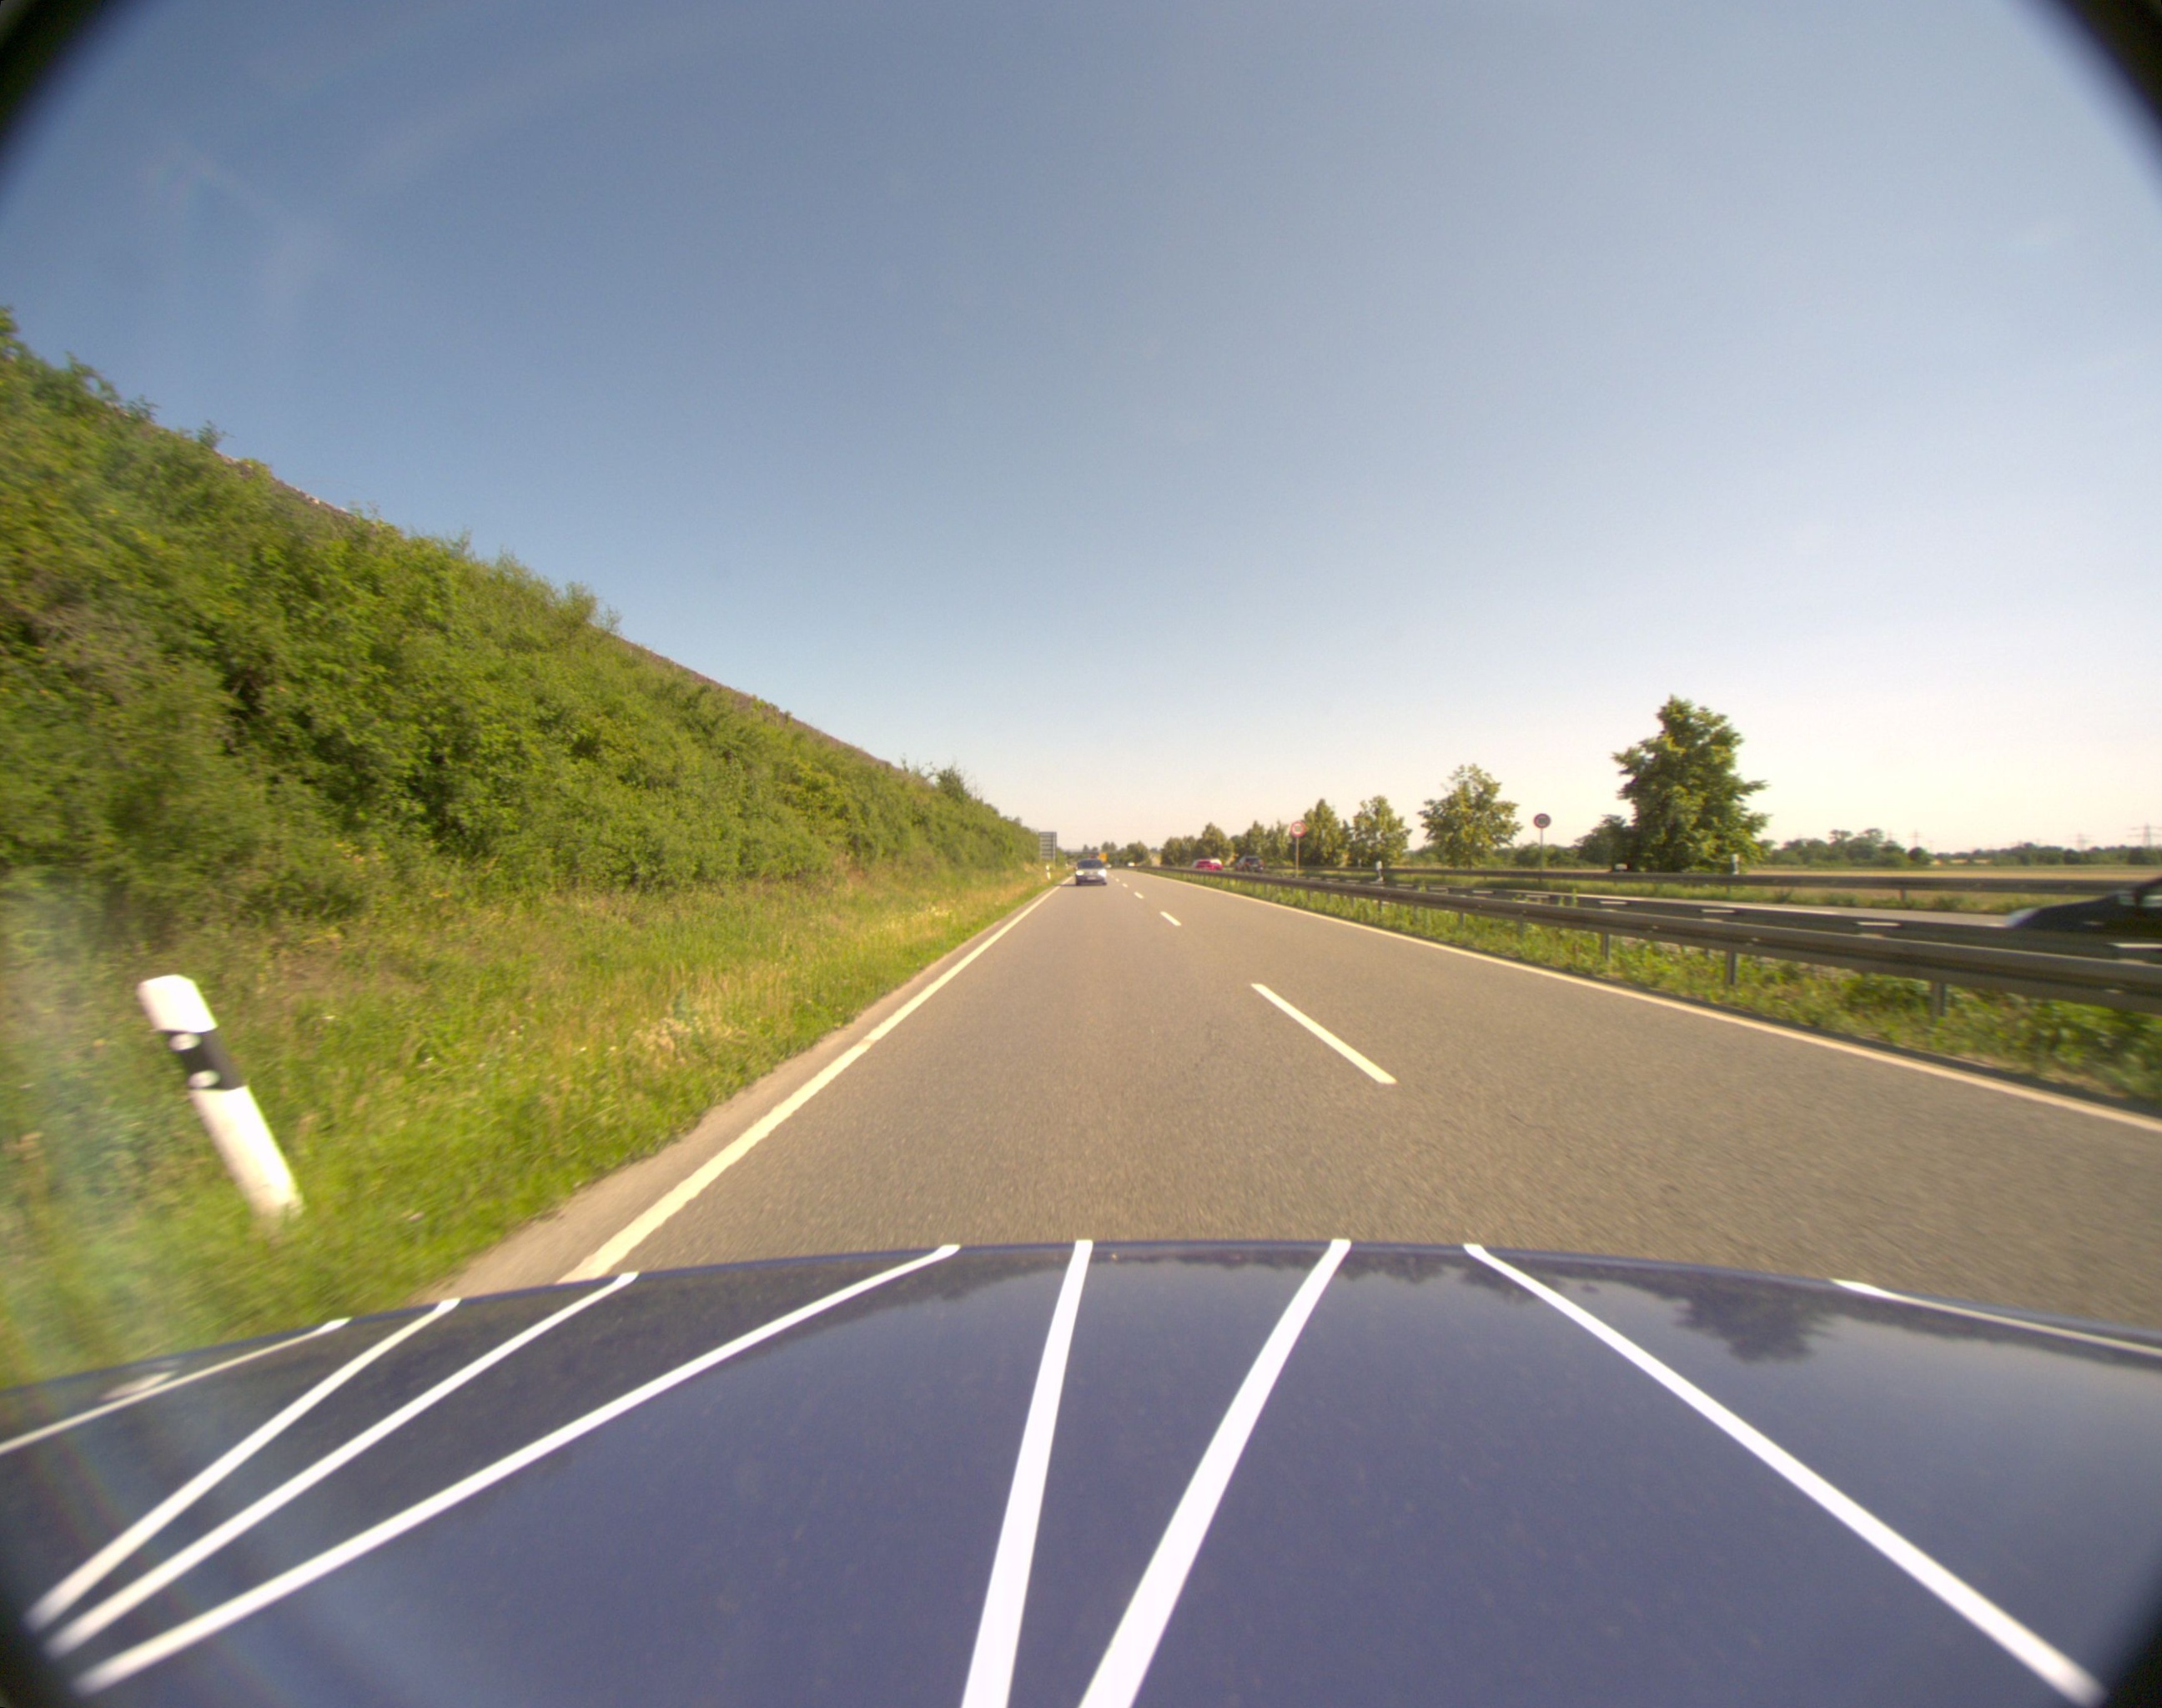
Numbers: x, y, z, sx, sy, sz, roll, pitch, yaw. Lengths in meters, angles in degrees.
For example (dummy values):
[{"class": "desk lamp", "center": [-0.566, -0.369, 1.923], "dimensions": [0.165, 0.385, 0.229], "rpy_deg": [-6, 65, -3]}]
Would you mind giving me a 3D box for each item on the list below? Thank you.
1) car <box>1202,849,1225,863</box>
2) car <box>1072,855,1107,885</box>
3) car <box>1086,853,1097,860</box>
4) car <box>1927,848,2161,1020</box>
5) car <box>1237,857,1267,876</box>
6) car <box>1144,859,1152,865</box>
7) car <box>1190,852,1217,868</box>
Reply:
[{"class": "car", "center": [15.730, 0.229, 90.450], "dimensions": [1.848, 1.584, 4.773], "rpy_deg": [-2, 0, 1]}, {"class": "car", "center": [0.556, 0.914, 44.798], "dimensions": [1.854, 1.635, 4.001], "rpy_deg": [-1, 0, 4]}, {"class": "car", "center": [1.880, 0.517, 136.908], "dimensions": [1.790, 1.212, 4.000], "rpy_deg": [-1, 0, 2]}, {"class": "car", "center": [10.527, 0.716, 6.480], "dimensions": [1.717, 1.461, 4.415], "rpy_deg": [-3, 0, 1]}, {"class": "car", "center": [15.197, 1.074, 67.832], "dimensions": [1.730, 1.586, 4.221], "rpy_deg": [-2, 0, 1]}, {"class": "car", "center": [16.633, 2.028, 189.167], "dimensions": [1.817, 1.532, 4.454], "rpy_deg": [-1, 0, 3]}, {"class": "car", "center": [11.956, 0.532, 74.208], "dimensions": [1.881, 1.484, 5.095], "rpy_deg": [-2, 0, 1]}]
